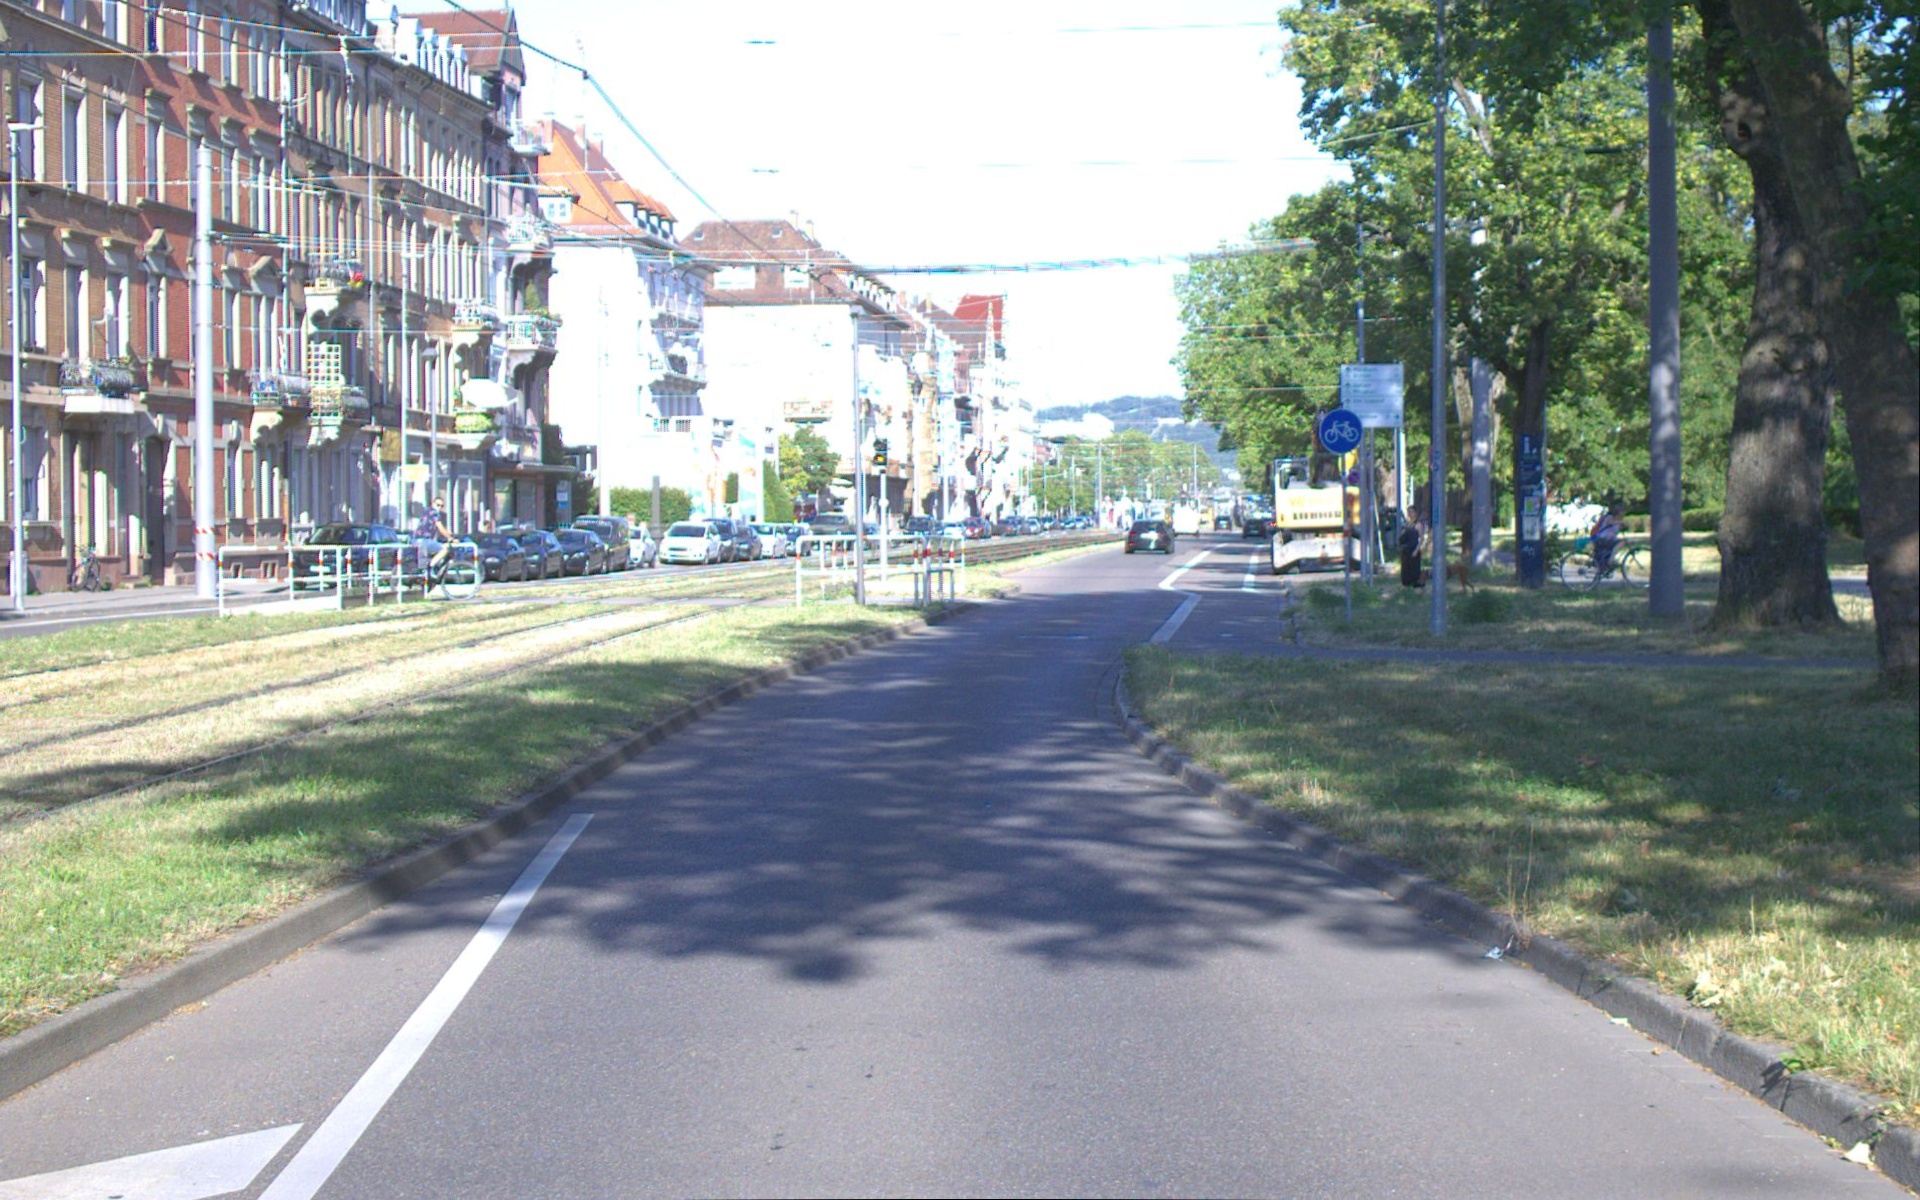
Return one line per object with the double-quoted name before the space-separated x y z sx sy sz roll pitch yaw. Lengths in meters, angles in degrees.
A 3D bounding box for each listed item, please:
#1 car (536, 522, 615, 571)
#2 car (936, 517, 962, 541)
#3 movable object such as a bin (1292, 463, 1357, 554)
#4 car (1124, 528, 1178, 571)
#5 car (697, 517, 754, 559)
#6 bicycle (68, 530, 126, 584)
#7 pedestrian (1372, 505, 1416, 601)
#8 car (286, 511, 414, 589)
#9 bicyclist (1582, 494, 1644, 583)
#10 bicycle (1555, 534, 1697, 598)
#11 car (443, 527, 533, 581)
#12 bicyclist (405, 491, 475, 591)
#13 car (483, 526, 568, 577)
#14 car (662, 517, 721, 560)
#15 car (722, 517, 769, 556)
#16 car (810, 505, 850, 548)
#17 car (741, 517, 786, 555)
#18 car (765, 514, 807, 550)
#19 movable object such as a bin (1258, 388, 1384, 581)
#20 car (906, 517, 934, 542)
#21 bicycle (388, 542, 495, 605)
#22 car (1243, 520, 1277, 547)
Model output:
"car" -12.327 -1.739 110.402 1.777 1.401 3.979 2 3 5
"car" -0.766 -5.003 240.699 1.527 1.555 3.223 2 3 5
"movable object such as a bin" 12.629 -3.167 119.453 1.968 3.002 4.796 -3 1 5
"car" 7.751 -2.061 139.436 1.994 1.678 3.999 2 1 5
"car" -9.565 -2.543 140.368 1.741 1.555 3.767 2 3 5
"bicycle" -19.432 -0.982 77.455 0.699 1.176 1.751 2 1 5
"pedestrian" 7.593 -0.821 60.156 0.660 1.641 0.862 -3 1 6
"car" -15.163 -1.269 85.648 2.016 1.748 4.558 2 3 5
"bicyclist" 11.064 -1.043 58.275 0.903 1.491 0.767 -1 2 2
"bicycle" 11.278 -0.581 58.275 2.260 1.037 0.767 -1 2 2
"car" -13.720 -1.361 100.164 1.777 1.401 3.909 2 3 5
"bicyclist" -8.993 -1.021 59.480 0.765 1.709 0.921 0 2 30
"car" -13.205 -1.503 104.652 1.777 1.401 3.909 2 3 5
"car" -10.581 -2.448 135.686 1.741 1.555 3.767 2 3 5
"car" -9.080 -2.709 145.887 1.527 1.555 3.223 2 3 5
"car" -6.825 -3.855 180.532 1.658 2.132 3.525 2 2 5
"car" -8.688 -2.862 152.413 1.527 1.555 3.223 2 3 5
"car" -8.166 -3.203 161.293 1.527 1.555 3.223 2 3 5
"movable object such as a bin" 10.150 -3.233 97.425 3.087 5.071 8.891 -3 1 5
"car" -2.616 -4.593 223.874 1.527 1.555 3.223 2 3 5
"bicycle" -8.967 -0.465 59.530 0.765 1.037 1.956 0 2 30
"car" 21.370 -4.723 244.964 1.993 1.853 4.001 2 1 -1
